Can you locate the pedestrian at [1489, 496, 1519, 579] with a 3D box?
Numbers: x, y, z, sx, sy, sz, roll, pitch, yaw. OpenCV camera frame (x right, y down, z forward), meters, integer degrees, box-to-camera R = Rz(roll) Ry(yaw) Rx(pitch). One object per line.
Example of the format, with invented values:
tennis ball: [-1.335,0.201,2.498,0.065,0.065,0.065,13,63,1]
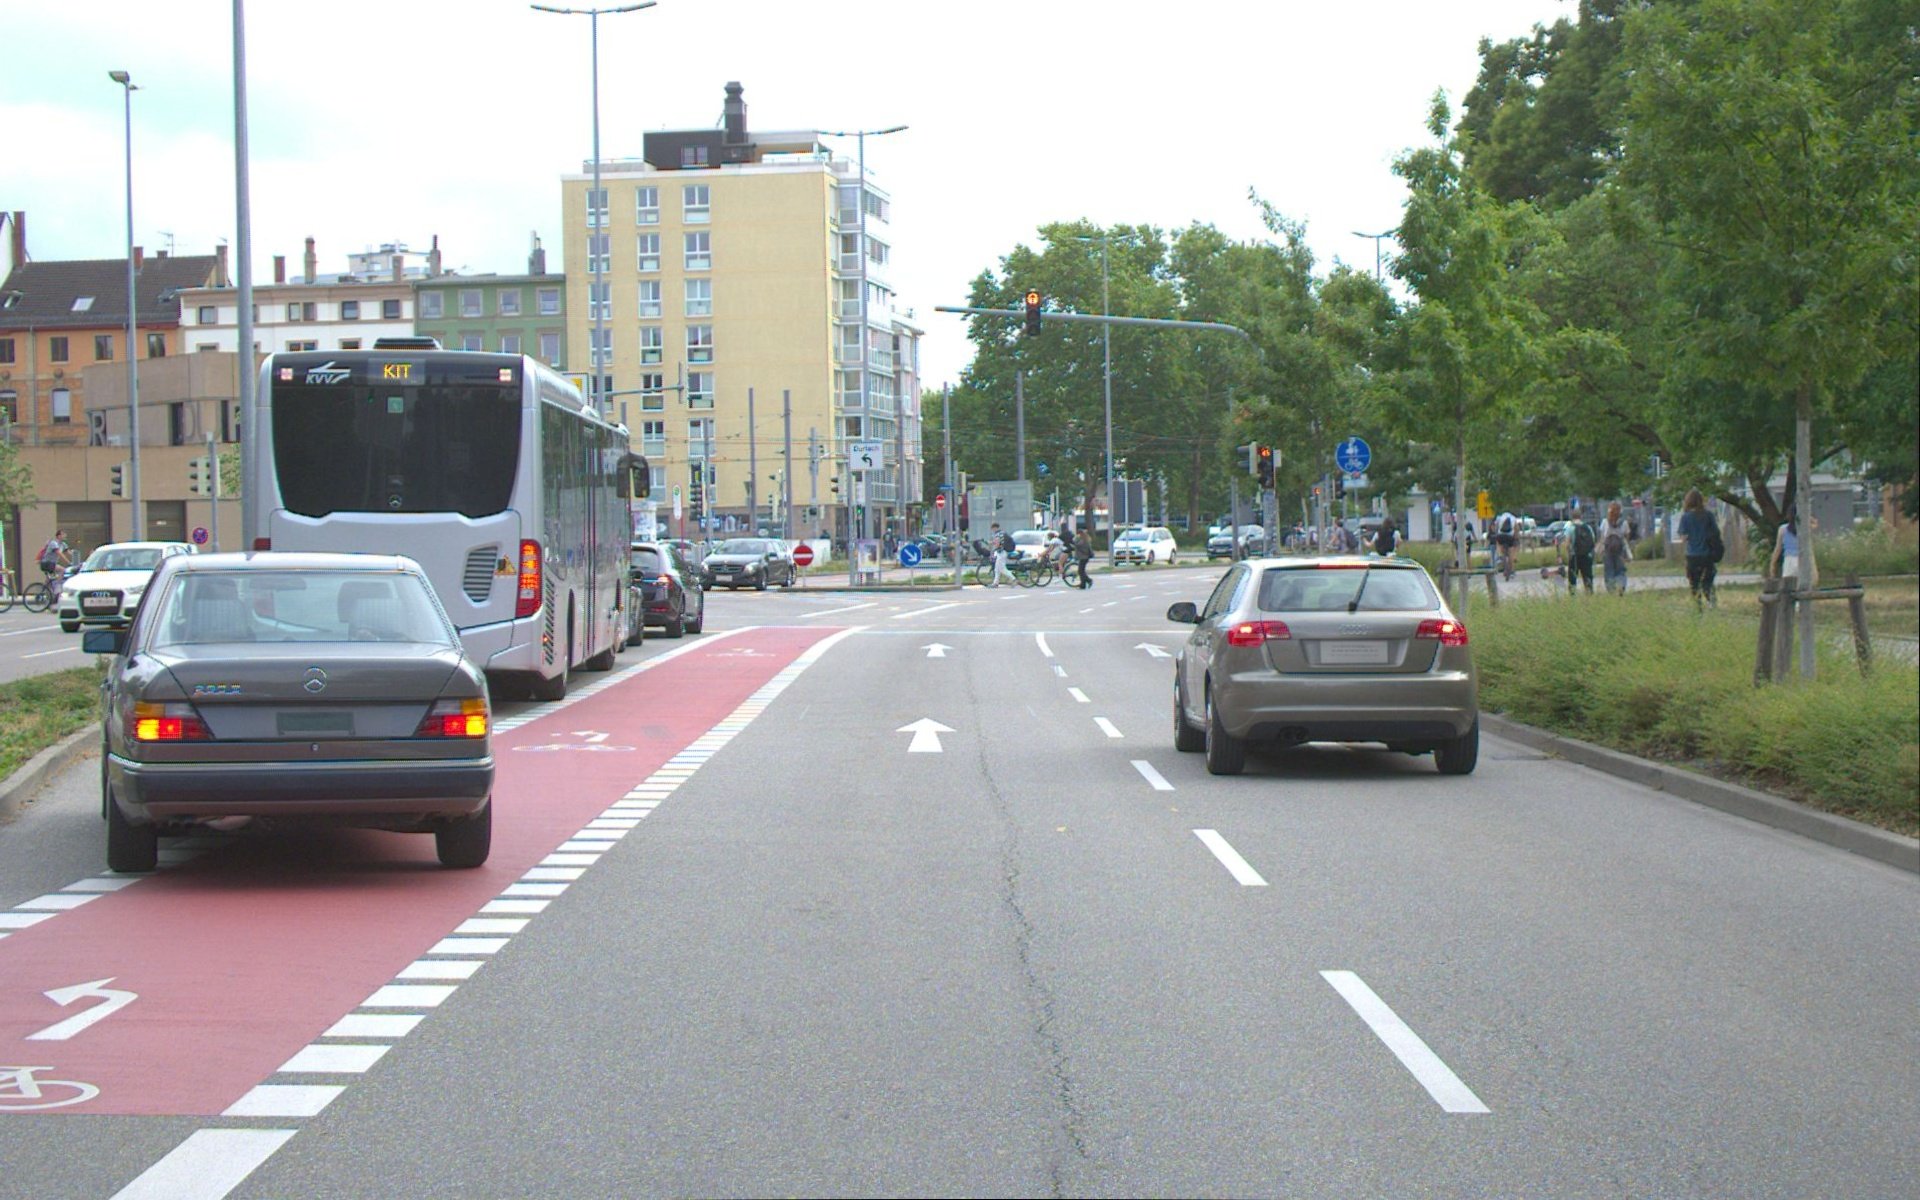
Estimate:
pedestrian: [13.236,-1.516,83.663,0.614,2.007,0.597,-1,1,-2]

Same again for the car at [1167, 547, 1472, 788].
car: [2.376,0.397,23.530,1.724,1.452,3.736,-1,1,1]

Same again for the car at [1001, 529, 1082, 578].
car: [3.008,-1.715,125.763,1.995,1.697,3.997,-1,1,16]

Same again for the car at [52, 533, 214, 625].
car: [-13.514,-0.374,56.389,1.670,1.384,3.922,-2,1,0]

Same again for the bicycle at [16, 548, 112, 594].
bicycle: [-19.979,-0.643,76.702,1.964,0.978,0.631,-1,1,-3]

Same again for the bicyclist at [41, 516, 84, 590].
bicyclist: [-20.017,-1.051,76.696,0.786,1.637,0.614,-1,1,-3]

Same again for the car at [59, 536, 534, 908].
car: [-3.266,0.457,16.299,1.761,1.484,4.172,-1,1,-17]

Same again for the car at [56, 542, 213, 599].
car: [-20.684,-0.737,86.125,3.671,1.389,1.585,0,1,-20]

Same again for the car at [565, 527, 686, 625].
car: [-5.071,-0.397,52.510,1.655,1.391,3.861,-1,1,-3]

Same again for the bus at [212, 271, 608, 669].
bus: [-5.140,-1.229,33.656,2.831,3.378,8.184,-1,1,-2]

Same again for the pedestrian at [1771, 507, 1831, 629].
pedestrian: [10.258,-0.392,41.931,0.657,1.465,0.561,-1,1,17]

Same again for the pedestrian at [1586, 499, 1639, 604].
pedestrian: [10.790,-0.804,56.819,0.802,1.707,0.764,-1,1,13]

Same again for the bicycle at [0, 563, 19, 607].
bicycle: [-22.118,-0.314,76.890,1.964,0.978,0.631,-1,1,-2]

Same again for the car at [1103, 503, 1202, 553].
car: [8.476,-3.192,150.950,2.586,2.102,5.594,0,1,22]

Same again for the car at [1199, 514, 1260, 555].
car: [12.617,-3.067,161.041,1.808,1.844,3.996,-1,1,20]

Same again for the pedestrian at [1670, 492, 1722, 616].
pedestrian: [10.208,-0.640,47.693,0.647,1.707,0.561,-1,1,15]
